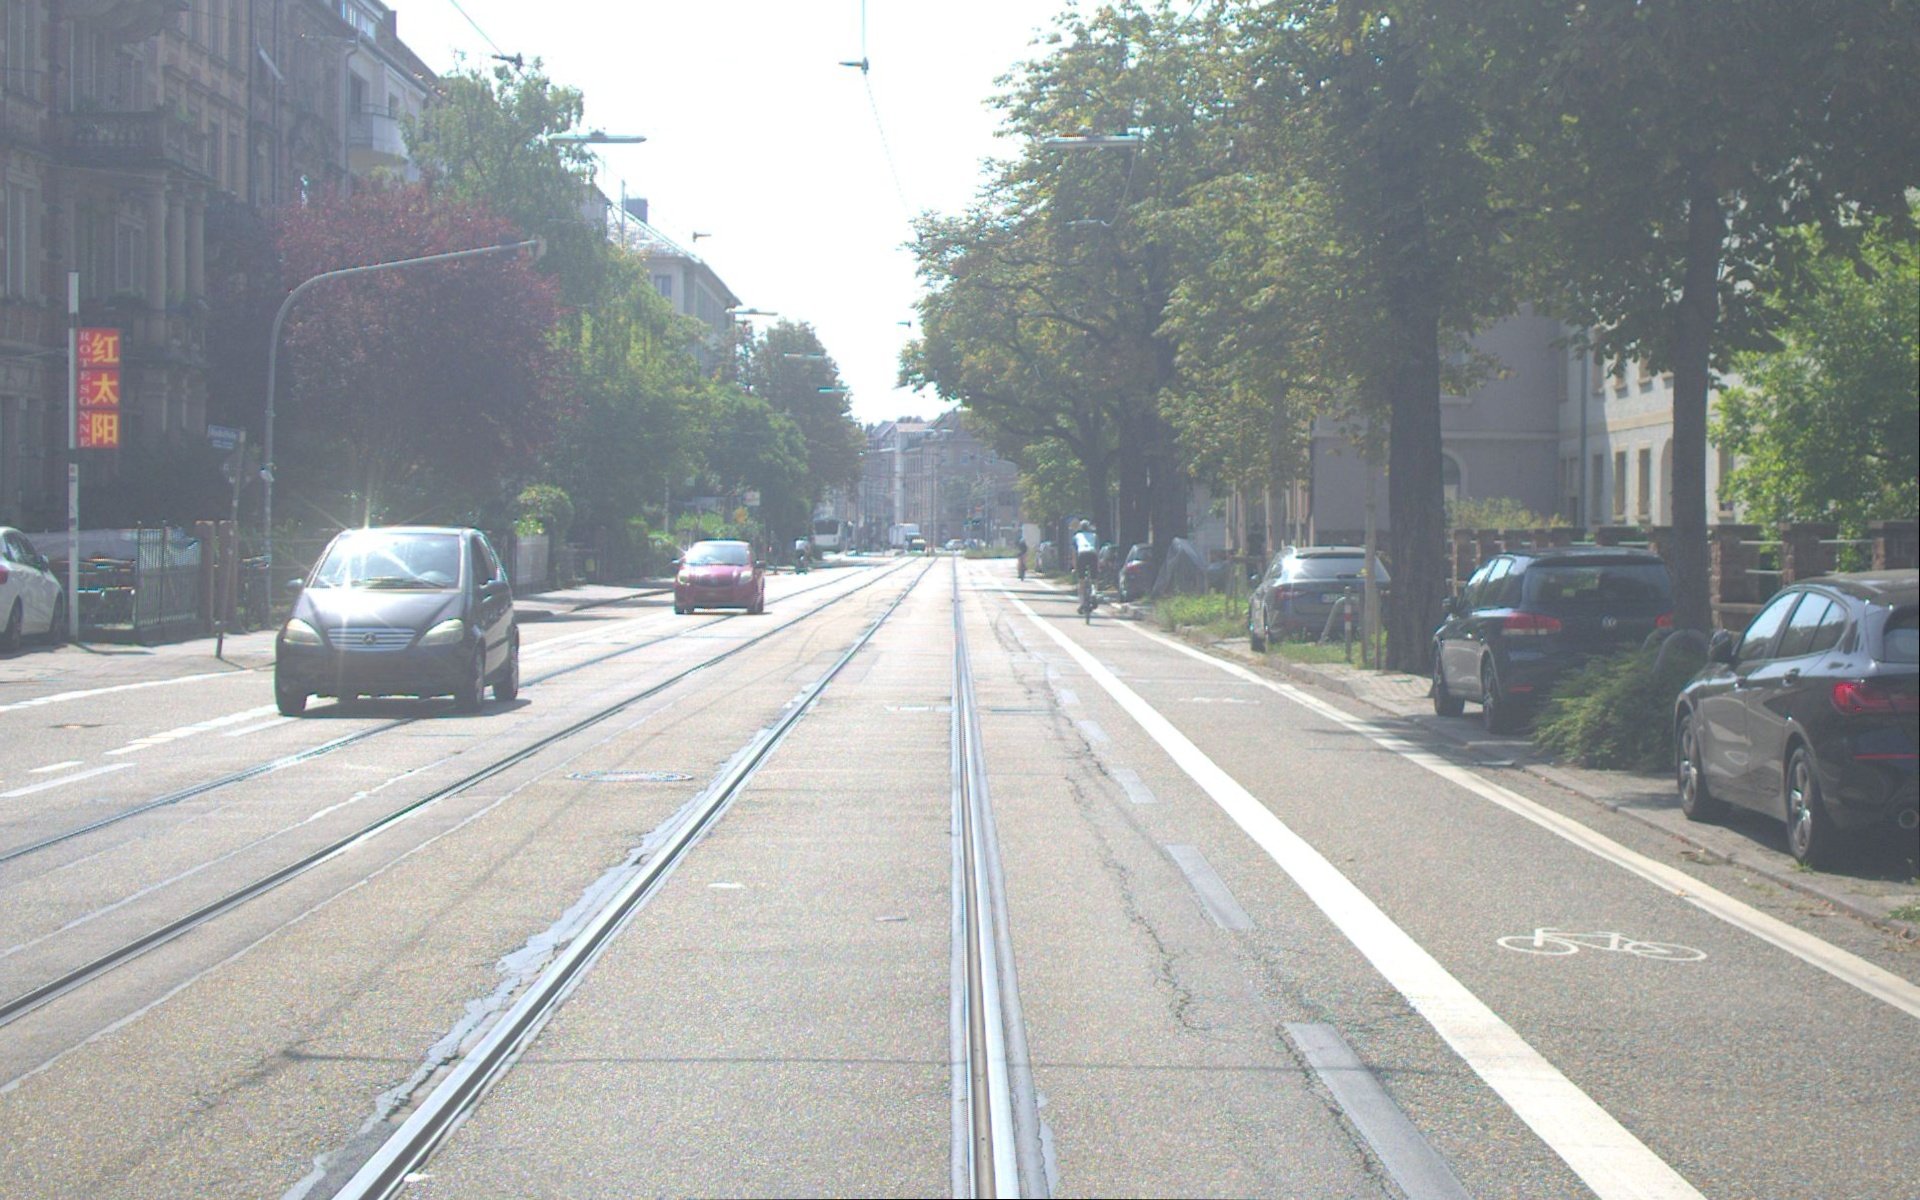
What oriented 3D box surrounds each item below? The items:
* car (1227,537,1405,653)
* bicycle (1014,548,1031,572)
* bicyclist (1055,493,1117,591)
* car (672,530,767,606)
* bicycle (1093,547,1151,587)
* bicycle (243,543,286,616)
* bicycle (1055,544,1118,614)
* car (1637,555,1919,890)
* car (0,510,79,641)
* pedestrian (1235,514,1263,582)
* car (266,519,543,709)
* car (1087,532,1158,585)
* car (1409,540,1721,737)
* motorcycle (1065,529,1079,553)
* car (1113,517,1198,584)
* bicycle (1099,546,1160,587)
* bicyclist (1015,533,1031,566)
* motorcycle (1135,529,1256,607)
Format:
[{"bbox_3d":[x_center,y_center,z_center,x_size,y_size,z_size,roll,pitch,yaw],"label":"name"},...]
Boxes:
[{"bbox_3d":[4.819,-0.106,47.161,1.892,1.472,4.841,1,1,0],"label":"car"},{"bbox_3d":[2.449,-1.559,134.031,0.588,0.936,2.172,1,1,2],"label":"bicycle"},{"bbox_3d":[2.381,-1.104,65.217,1.125,1.830,0.956,1,1,1],"label":"bicyclist"},{"bbox_3d":[-4.935,-0.689,70.934,1.732,1.485,4.000,0,2,-1],"label":"car"},{"bbox_3d":[4.674,-0.956,99.157,1.606,1.100,0.398,1,1,7],"label":"bicycle"},{"bbox_3d":[-10.722,-0.327,53.002,0.390,1.095,1.569,1,2,-2],"label":"bicycle"},{"bbox_3d":[2.382,-0.417,65.267,1.148,1.265,2.712,1,1,1],"label":"bicycle"},{"bbox_3d":[4.952,0.544,18.337,1.755,1.472,4.457,-3,1,0],"label":"car"},{"bbox_3d":[-12.608,-0.348,43.628,1.993,1.589,4.360,0,1,-4],"label":"car"},{"bbox_3d":[8.026,-1.438,95.449,0.706,1.885,0.714,1,1,2],"label":"pedestrian"},{"bbox_3d":[-4.809,0.067,30.254,1.827,1.535,4.000,0,2,-1],"label":"car"},{"bbox_3d":[4.848,-1.265,103.033,1.840,1.527,4.780,-1,1,0],"label":"car"},{"bbox_3d":[4.959,0.258,28.725,1.755,1.472,4.387,1,1,-1],"label":"car"},{"bbox_3d":[5.062,-2.668,155.246,0.549,1.064,2.330,1,1,0],"label":"motorcycle"},{"bbox_3d":[4.860,-1.253,85.753,1.840,1.527,4.115,0,3,0],"label":"car"},{"bbox_3d":[4.896,-0.963,99.529,1.723,1.145,0.377,1,1,7],"label":"bicycle"},{"bbox_3d":[2.456,-1.980,134.050,0.579,1.274,0.471,1,1,3],"label":"bicyclist"},{"bbox_3d":[4.797,-0.647,70.227,2.344,1.535,0.966,-1,-1,41],"label":"motorcycle"}]
